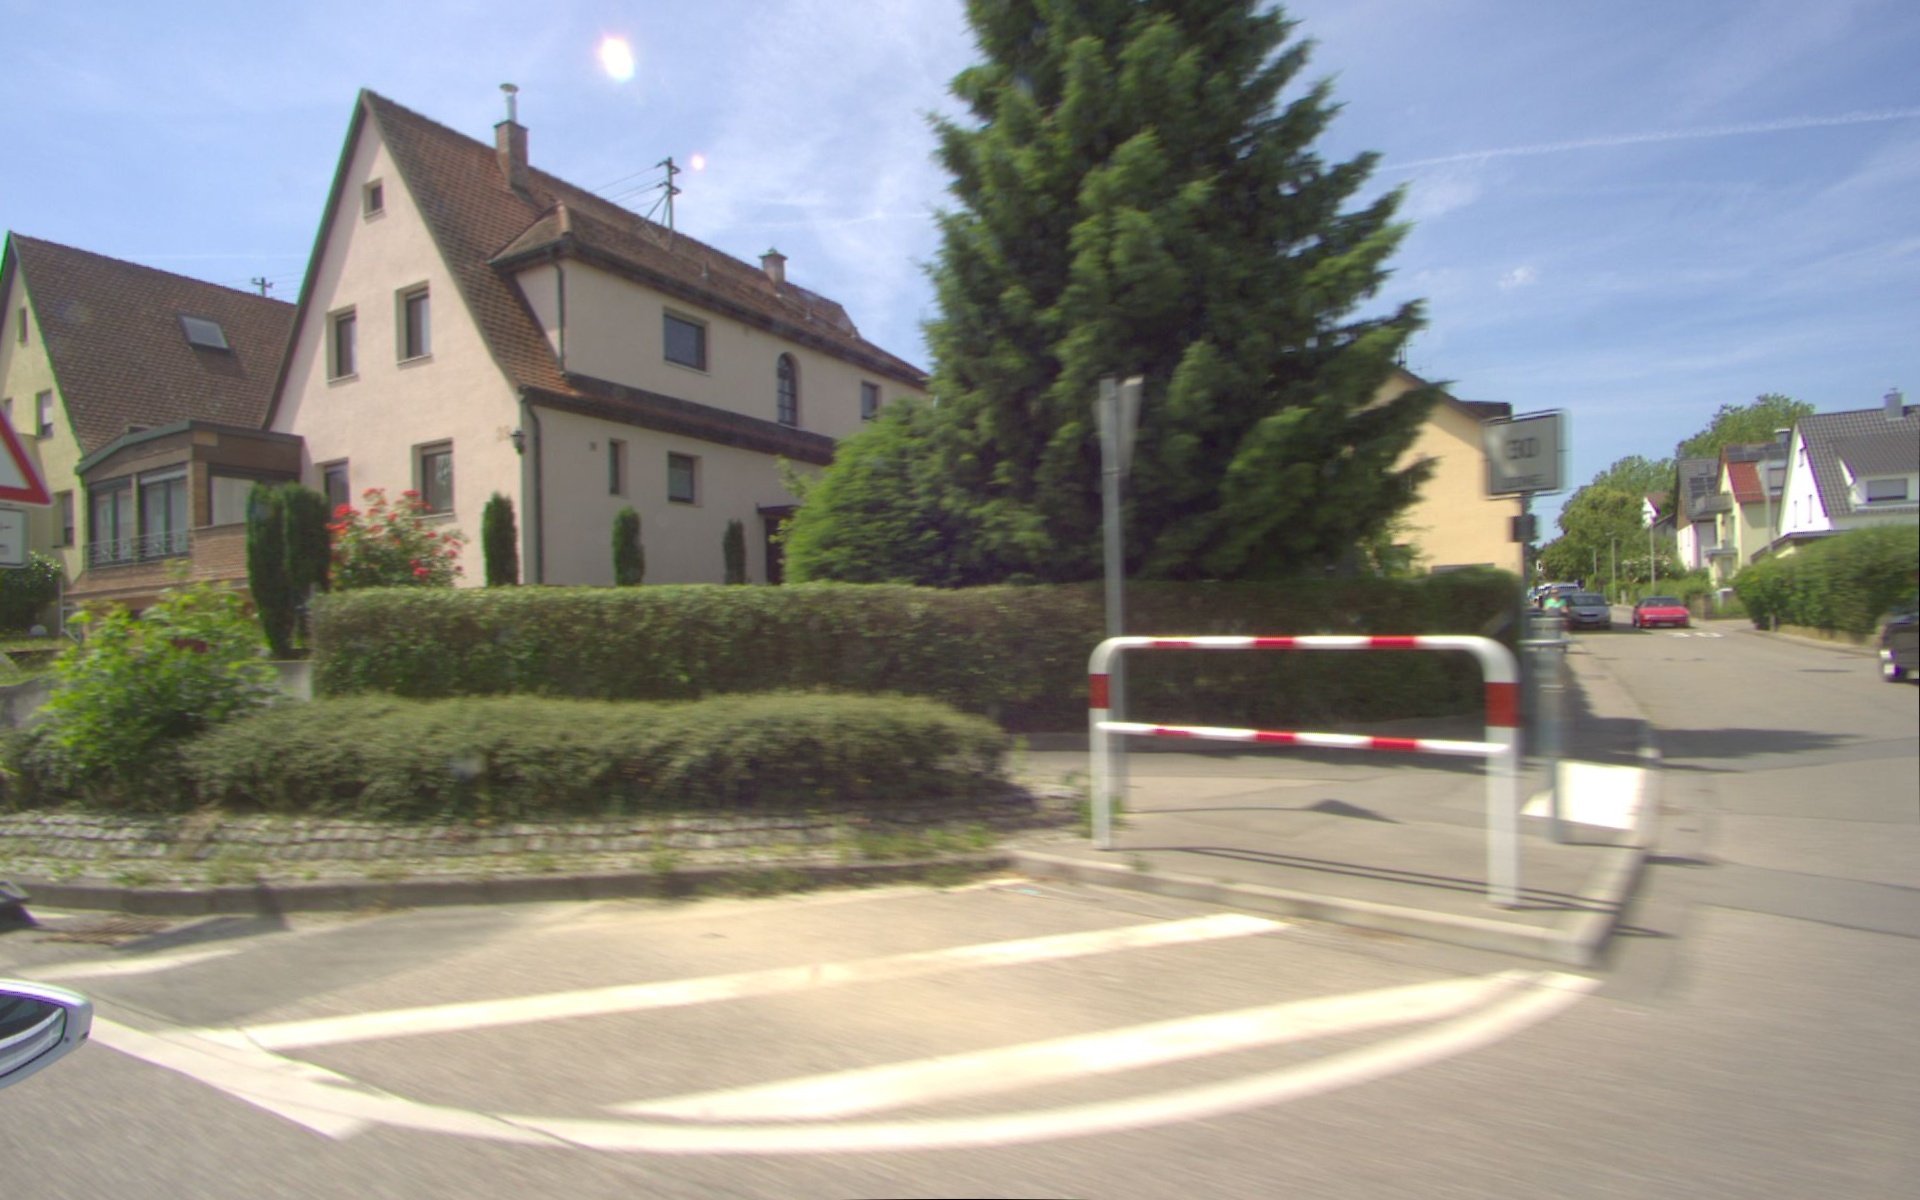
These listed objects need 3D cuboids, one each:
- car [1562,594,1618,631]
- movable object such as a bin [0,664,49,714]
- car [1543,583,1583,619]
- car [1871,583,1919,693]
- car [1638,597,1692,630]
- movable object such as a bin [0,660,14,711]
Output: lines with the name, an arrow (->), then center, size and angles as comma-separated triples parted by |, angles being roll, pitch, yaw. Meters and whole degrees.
car -> 26.142, 0.497, 41.519 | 1.778, 1.453, 3.779 | -1, 0, 35
movable object such as a bin -> -18.455, 1.749, 19.763 | 0.555, 0.963, 0.528 | 0, -4, 31
car -> 37.762, 0.058, 62.662 | 1.973, 2.131, 3.976 | -1, 0, 34
car -> 14.514, 0.509, 13.985 | 1.748, 1.575, 3.894 | -3, -1, 29
car -> 28.733, 0.527, 40.897 | 1.648, 1.295, 3.781 | -1, 0, 33
movable object such as a bin -> -18.677, 1.639, 19.247 | 0.555, 0.962, 0.528 | 0, -5, 31
